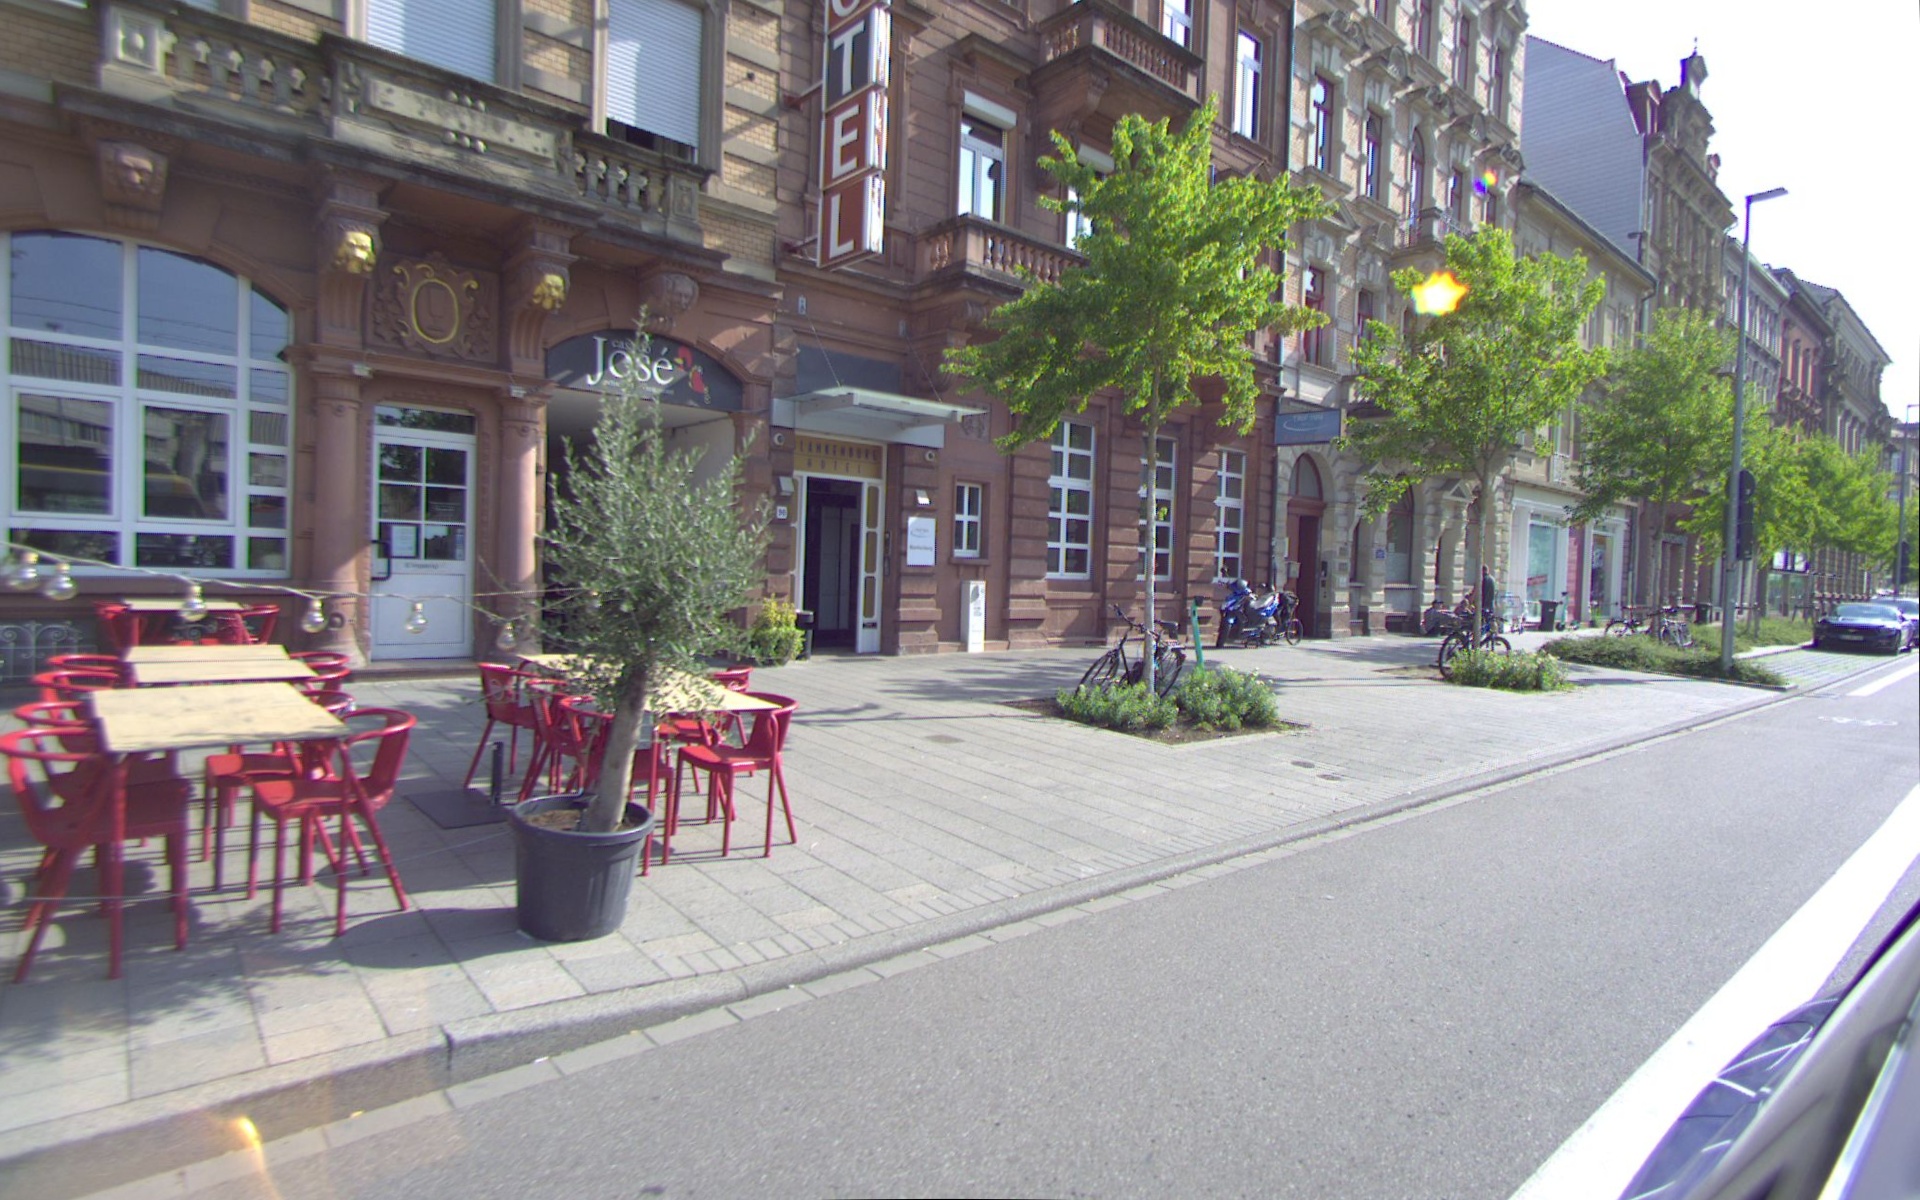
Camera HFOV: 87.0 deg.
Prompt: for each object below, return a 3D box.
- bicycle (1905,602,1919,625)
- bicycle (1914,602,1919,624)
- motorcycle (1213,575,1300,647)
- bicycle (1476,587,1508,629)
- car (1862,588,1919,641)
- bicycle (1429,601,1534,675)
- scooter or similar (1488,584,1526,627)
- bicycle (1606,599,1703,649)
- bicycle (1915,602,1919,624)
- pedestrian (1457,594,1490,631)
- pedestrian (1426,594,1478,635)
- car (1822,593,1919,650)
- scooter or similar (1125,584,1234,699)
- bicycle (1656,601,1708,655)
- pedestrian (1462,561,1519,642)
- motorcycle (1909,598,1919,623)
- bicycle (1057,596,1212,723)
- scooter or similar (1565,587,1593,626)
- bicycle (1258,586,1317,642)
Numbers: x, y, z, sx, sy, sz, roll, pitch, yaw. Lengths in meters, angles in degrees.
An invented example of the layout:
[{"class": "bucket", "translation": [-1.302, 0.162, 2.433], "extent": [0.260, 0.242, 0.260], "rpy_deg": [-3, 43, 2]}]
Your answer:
[{"class": "bicycle", "translation": [48.288, 0.707, 50.316], "extent": [1.808, 1.109, 0.661], "rpy_deg": [6, 4, 44]}, {"class": "bicycle", "translation": [47.345, 0.687, 48.847], "extent": [0.366, 1.066, 1.788], "rpy_deg": [1, 3, -42]}, {"class": "motorcycle", "translation": [5.287, 0.177, 17.984], "extent": [1.911, 1.189, 0.464], "rpy_deg": [0, 4, -41]}, {"class": "bicycle", "translation": [14.176, 0.200, 26.948], "extent": [0.450, 1.097, 1.428], "rpy_deg": [3, 2, 39]}, {"class": "car", "translation": [31.998, 0.481, 34.359], "extent": [1.771, 1.607, 4.179], "rpy_deg": [5, 3, 45]}, {"class": "bicycle", "translation": [8.147, 0.595, 15.788], "extent": [1.678, 1.073, 0.507], "rpy_deg": [2, 3, -27]}, {"class": "scooter or similar", "translation": [15.066, 0.148, 27.864], "extent": [0.915, 1.139, 0.608], "rpy_deg": [0, 2, -41]}, {"class": "bicycle", "translation": [15.790, 0.541, 23.034], "extent": [1.842, 1.095, 0.455], "rpy_deg": [0, 2, 1]}, {"class": "bicycle", "translation": [47.635, 0.717, 49.105], "extent": [0.366, 1.066, 1.788], "rpy_deg": [1, 3, -42]}, {"class": "pedestrian", "translation": [12.791, 0.311, 25.195], "extent": [0.570, 0.865, 0.450], "rpy_deg": [6, 4, 43]}, {"class": "pedestrian", "translation": [11.648, 0.324, 23.968], "extent": [0.699, 0.887, 0.878], "rpy_deg": [0, 4, -44]}, {"class": "car", "translation": [26.435, 0.574, 29.090], "extent": [4.631, 1.413, 1.741], "rpy_deg": [1, 3, -40]}, {"class": "scooter or similar", "translation": [2.506, 0.446, 11.678], "extent": [0.333, 1.171, 1.261], "rpy_deg": [1, 4, -37]}, {"class": "bicycle", "translation": [15.627, 0.581, 21.886], "extent": [1.795, 1.107, 0.493], "rpy_deg": [0, 2, -42]}, {"class": "pedestrian", "translation": [11.784, 0.014, 22.478], "extent": [0.823, 1.717, 0.780], "rpy_deg": [6, 4, 45]}, {"class": "motorcycle", "translation": [51.241, 0.616, 53.055], "extent": [2.011, 1.302, 0.703], "rpy_deg": [4, 2, 13]}, {"class": "bicycle", "translation": [1.794, 0.540, 10.173], "extent": [0.595, 1.136, 1.897], "rpy_deg": [3, 2, 42]}, {"class": "scooter or similar", "translation": [18.547, 0.201, 30.311], "extent": [1.068, 1.148, 0.289], "rpy_deg": [1, 1, -36]}, {"class": "bicycle", "translation": [6.281, 0.262, 19.377], "extent": [1.231, 1.031, 0.398], "rpy_deg": [0, 2, -36]}]
